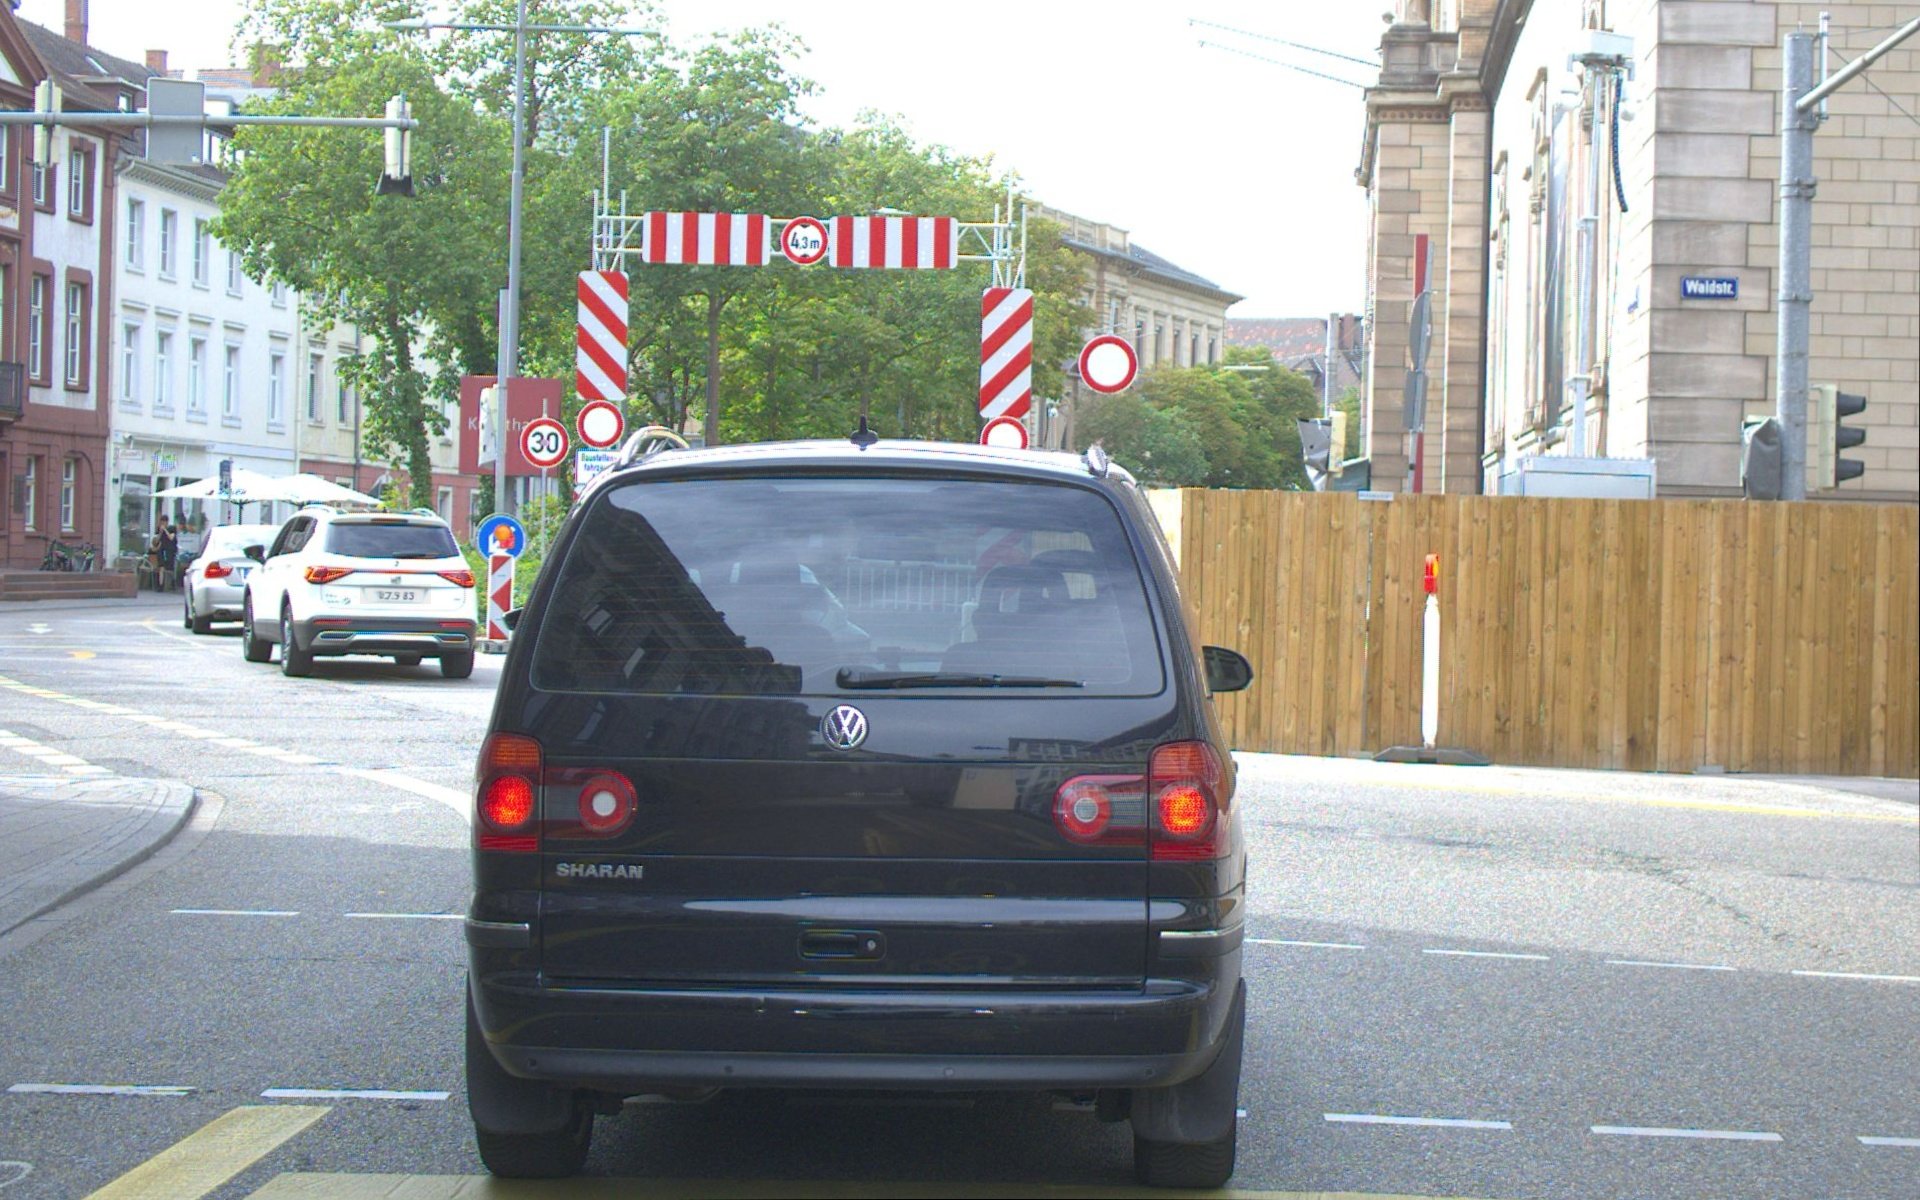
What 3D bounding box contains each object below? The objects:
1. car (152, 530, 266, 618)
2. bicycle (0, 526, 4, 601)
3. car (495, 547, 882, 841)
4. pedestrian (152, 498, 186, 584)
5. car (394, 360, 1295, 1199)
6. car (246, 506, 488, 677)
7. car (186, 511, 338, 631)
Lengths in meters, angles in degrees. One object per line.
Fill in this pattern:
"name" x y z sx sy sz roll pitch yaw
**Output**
"car" -12.016 -0.424 54.893 1.649 1.317 3.676 1 0 -14
"bicycle" -16.222 -0.606 56.161 0.925 1.251 2.542 1 0 -11
"car" -1.651 0.457 19.580 1.677 1.464 4.104 2 1 -11
"pedestrian" -18.618 -1.387 80.968 0.585 2.007 0.686 1 0 2
"car" -0.240 0.411 9.068 1.789 1.784 4.103 2 0 0
"car" -5.970 -0.104 34.294 1.772 1.580 4.001 1 0 -18
"car" -9.293 -0.389 45.570 1.703 1.496 4.001 1 0 -15
